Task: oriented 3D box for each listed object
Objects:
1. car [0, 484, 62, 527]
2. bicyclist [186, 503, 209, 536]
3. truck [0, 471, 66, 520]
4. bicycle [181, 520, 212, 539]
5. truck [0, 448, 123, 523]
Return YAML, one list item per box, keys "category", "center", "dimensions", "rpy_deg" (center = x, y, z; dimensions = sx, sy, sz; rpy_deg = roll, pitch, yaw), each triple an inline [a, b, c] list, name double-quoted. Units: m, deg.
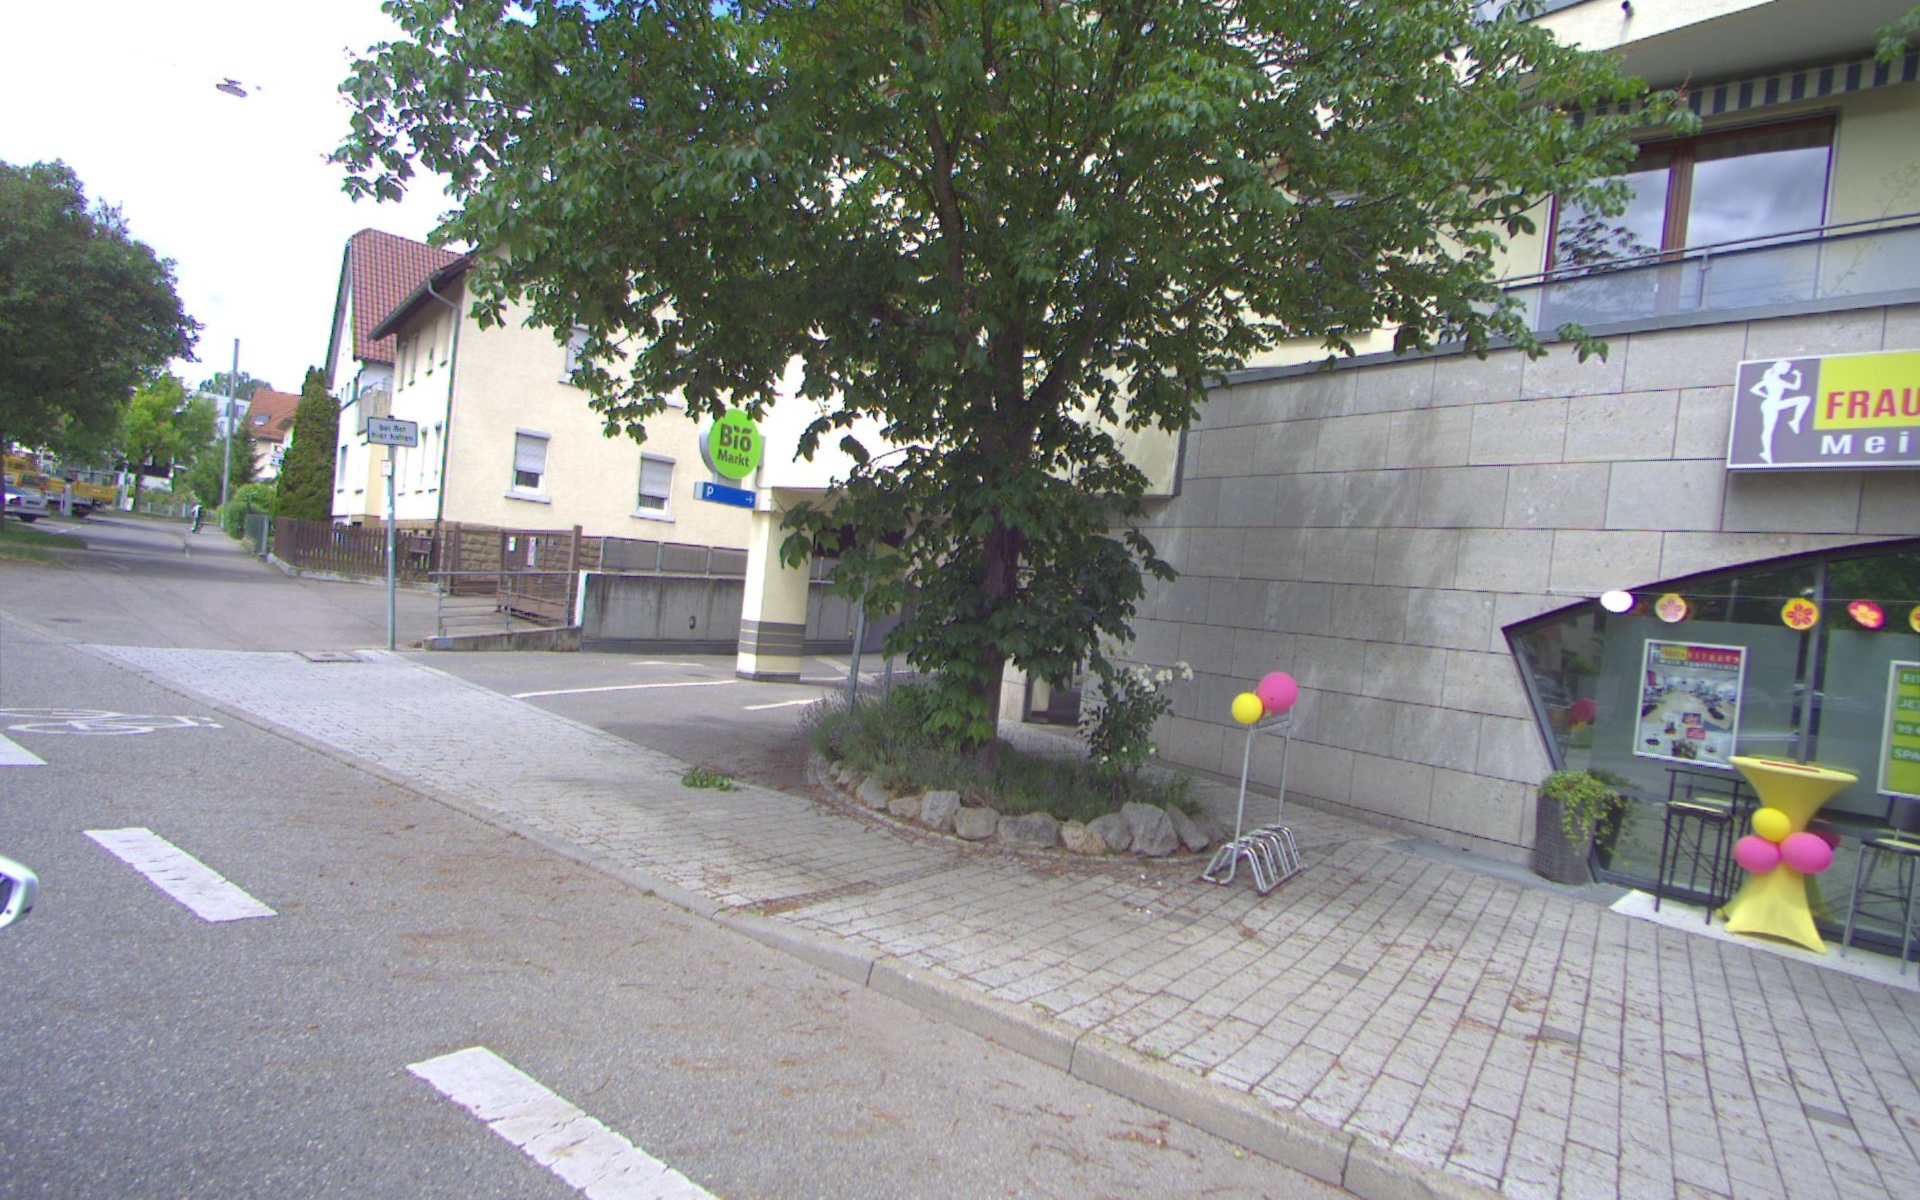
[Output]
- category: "car"
  center: [-39.238, -4.021, 40.399]
  dimensions: [4.603, 1.469, 1.768]
  rpy_deg: [8, 0, 0]
- category: "bicyclist"
  center: [-39.261, -4.151, 51.794]
  dimensions: [0.557, 1.577, 0.590]
  rpy_deg: [6, -1, 31]
- category: "truck"
  center: [-49.431, -5.591, 51.178]
  dimensions: [5.578, 2.036, 2.000]
  rpy_deg: [8, -2, -6]
- category: "bicycle"
  center: [-39.302, -3.622, 51.767]
  dimensions: [1.725, 0.821, 0.595]
  rpy_deg: [6, -2, 31]
- category: "truck"
  center: [-49.633, -6.251, 54.041]
  dimensions: [6.585, 3.042, 2.771]
  rpy_deg: [8, -2, -2]
